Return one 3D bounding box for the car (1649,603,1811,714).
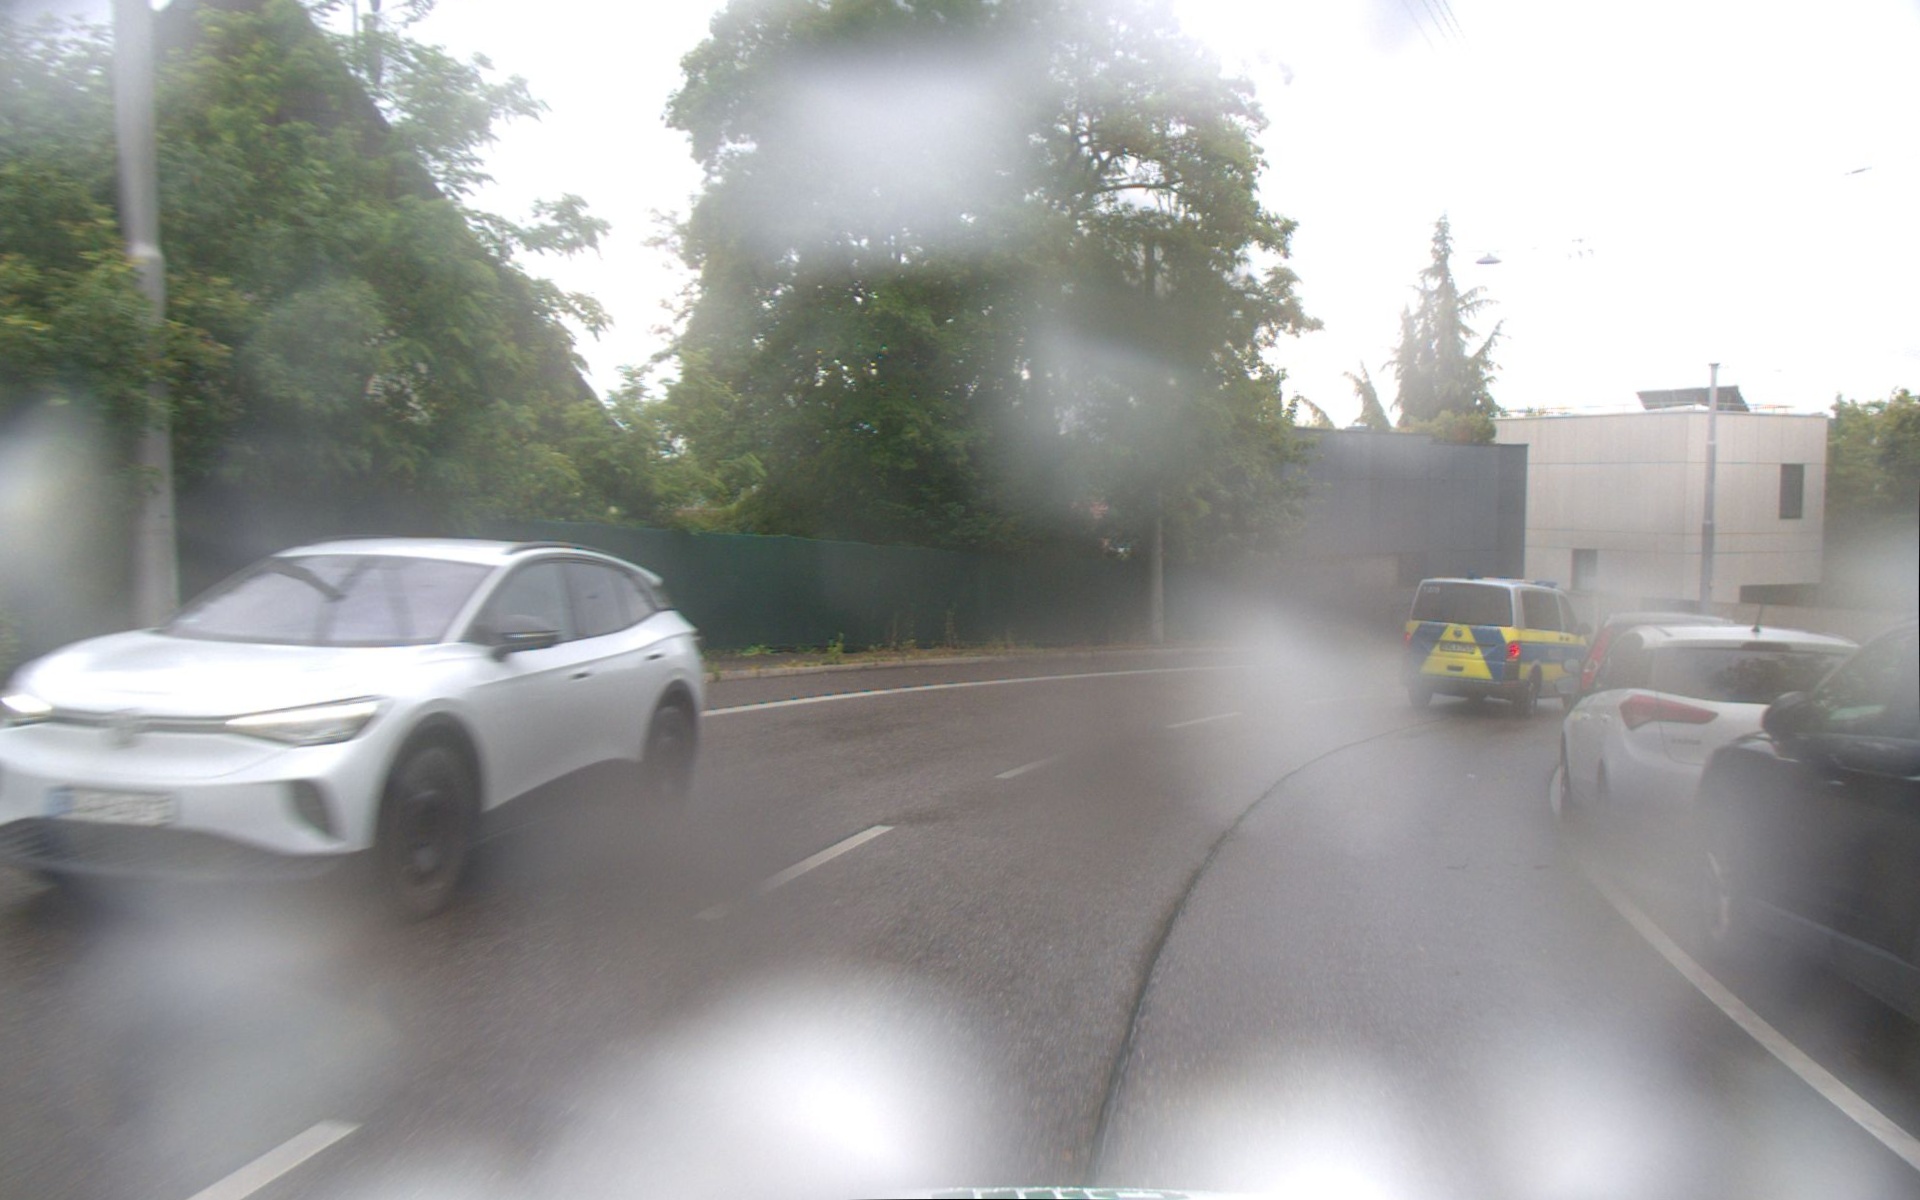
[{"bbox_3d":[11.397,0.797,24.372,1.652,1.497,3.728,-1,0,33],"label":"car"}]

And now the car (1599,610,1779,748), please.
[{"bbox_3d":[8.838,0.864,19.871,1.682,1.460,4.063,-1,0,28],"label":"car"}]

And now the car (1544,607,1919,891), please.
[{"bbox_3d":[4.867,0.797,10.848,1.689,1.490,4.033,0,0,16],"label":"car"}]

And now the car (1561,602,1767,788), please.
[{"bbox_3d":[6.604,0.795,15.606,1.587,1.531,3.604,-1,0,23],"label":"car"}]

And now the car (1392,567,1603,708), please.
[{"bbox_3d":[8.507,0.592,25.900,1.959,1.926,4.556,3,0,33],"label":"car"}]

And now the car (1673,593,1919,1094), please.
[{"bbox_3d":[3.910,0.776,5.783,1.590,1.545,4.331,2,1,10],"label":"car"}]

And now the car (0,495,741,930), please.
[{"bbox_3d":[-2.747,0.406,8.514,1.787,1.635,4.290,-1,1,13],"label":"car"}]

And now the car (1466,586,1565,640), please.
[{"bbox_3d":[16.195,0.348,48.413,1.851,1.323,4.004,3,2,6],"label":"car"}]
